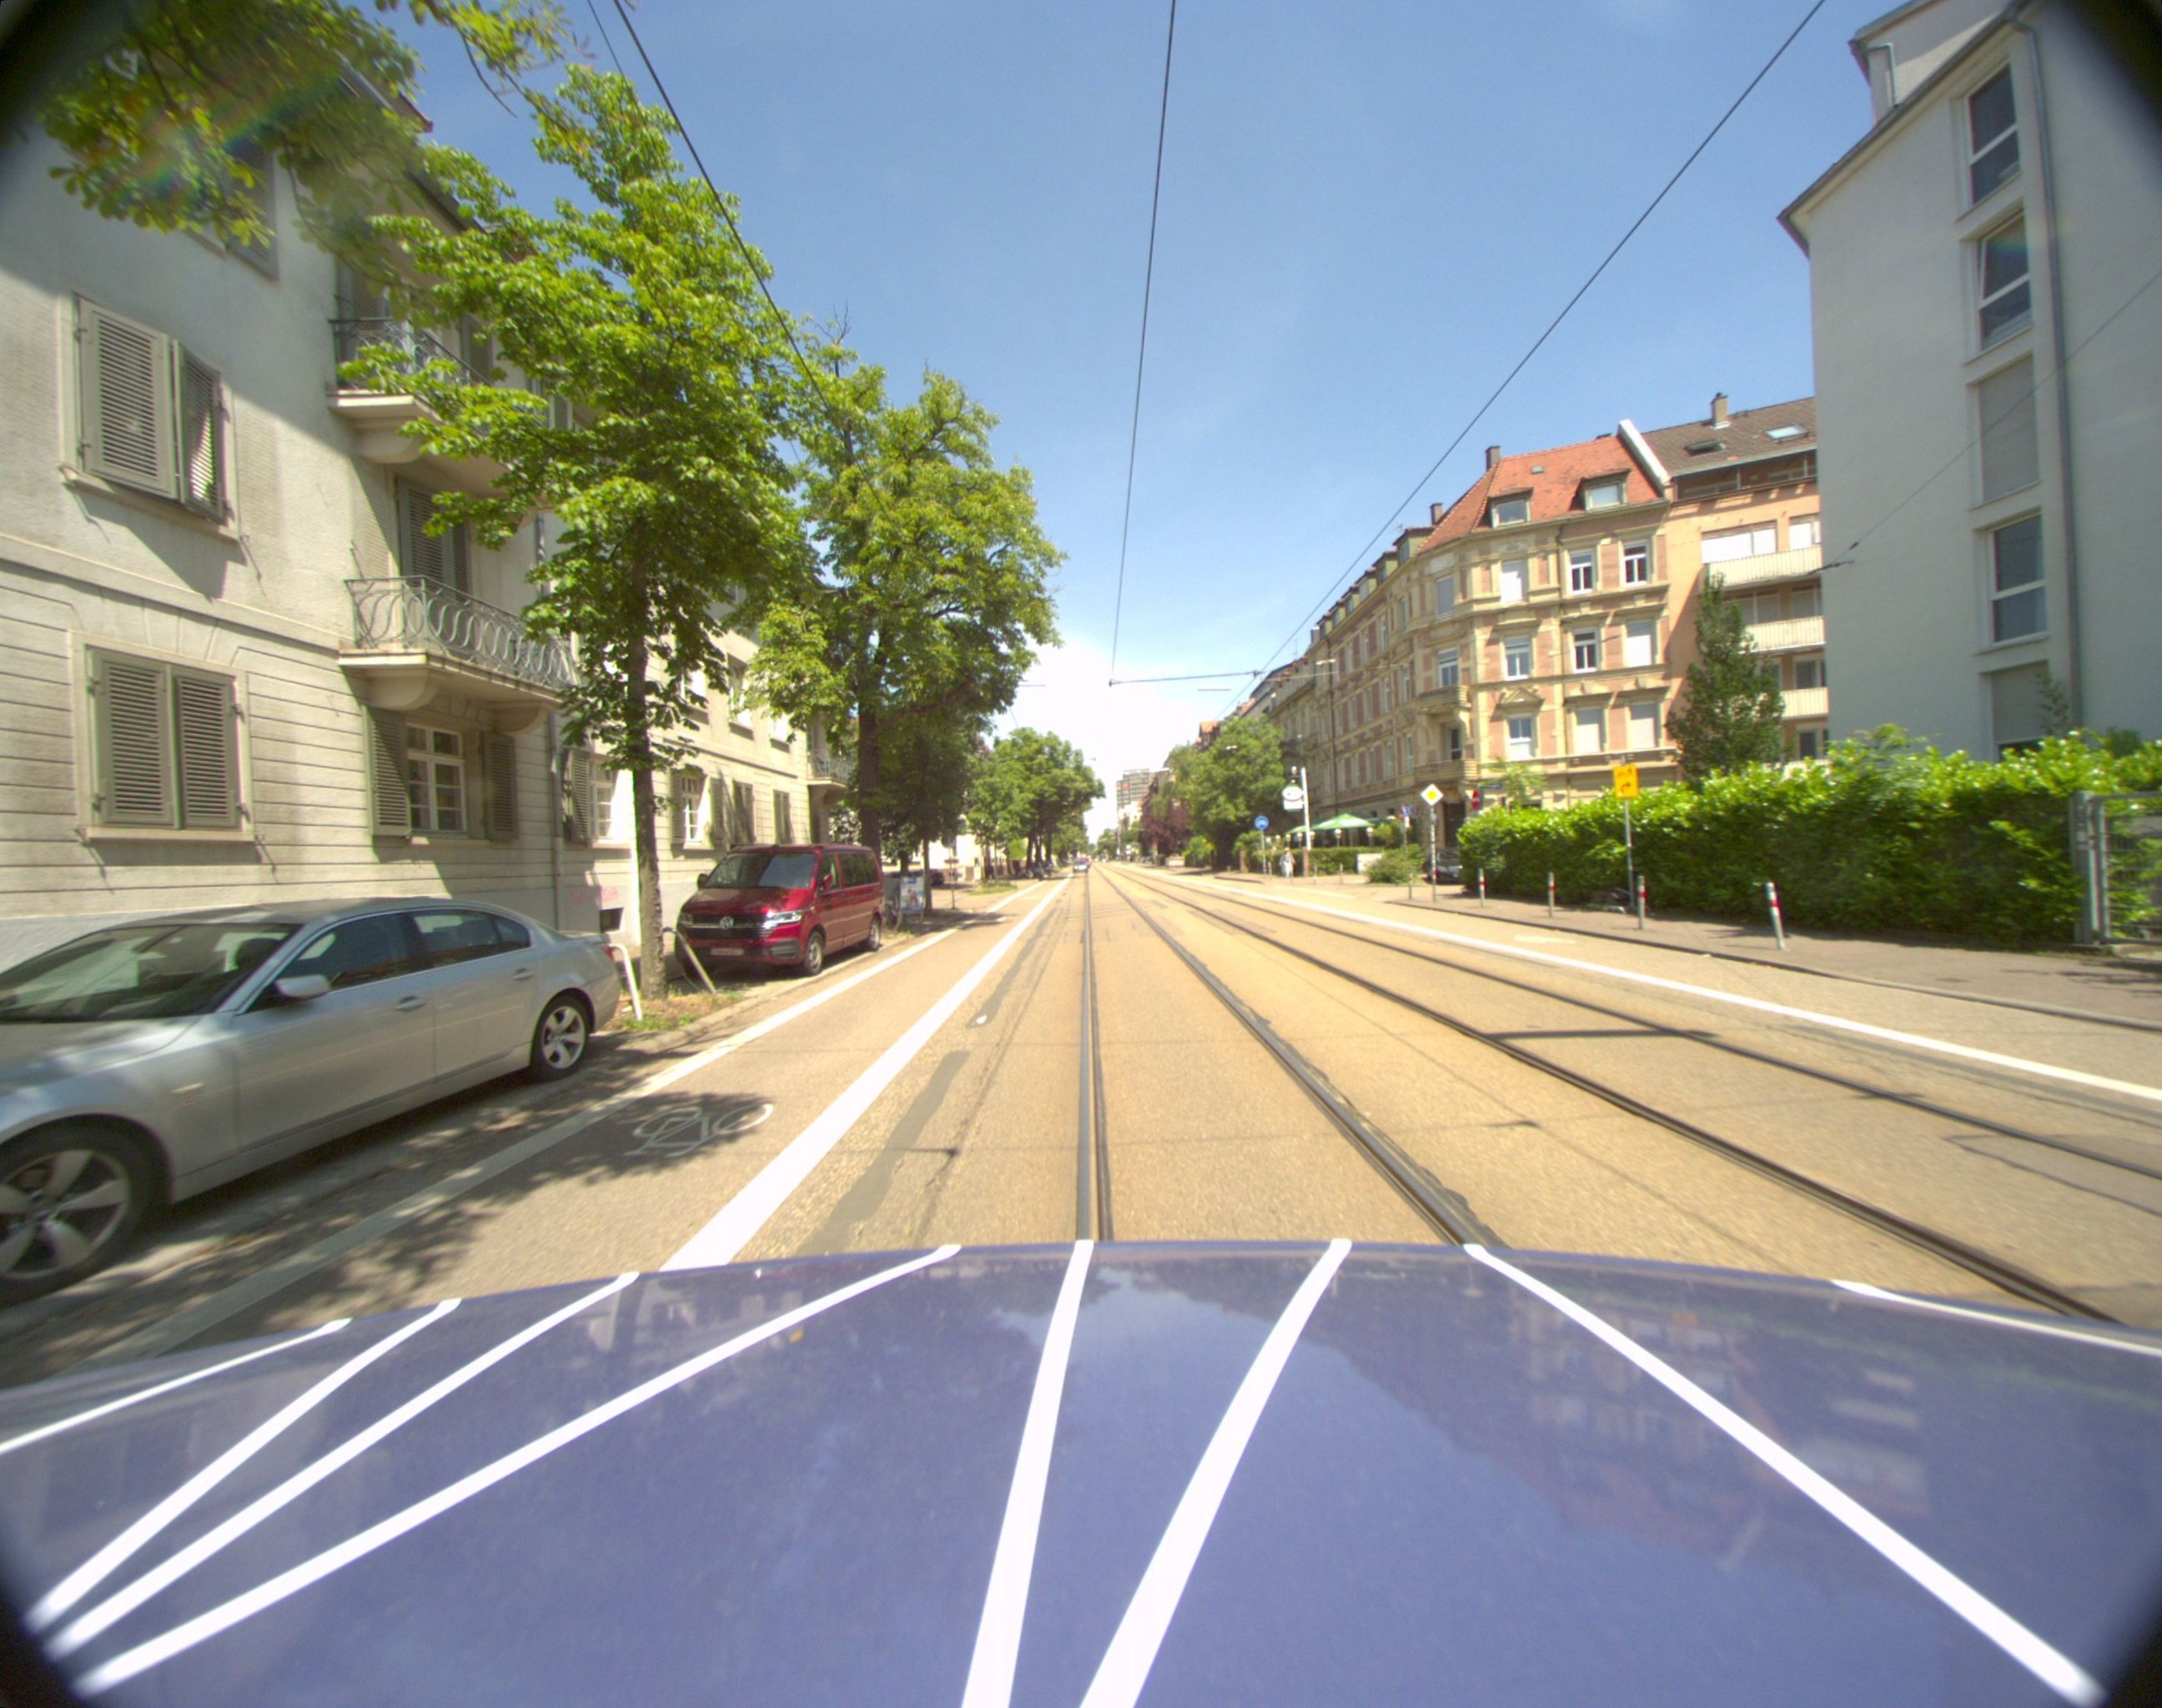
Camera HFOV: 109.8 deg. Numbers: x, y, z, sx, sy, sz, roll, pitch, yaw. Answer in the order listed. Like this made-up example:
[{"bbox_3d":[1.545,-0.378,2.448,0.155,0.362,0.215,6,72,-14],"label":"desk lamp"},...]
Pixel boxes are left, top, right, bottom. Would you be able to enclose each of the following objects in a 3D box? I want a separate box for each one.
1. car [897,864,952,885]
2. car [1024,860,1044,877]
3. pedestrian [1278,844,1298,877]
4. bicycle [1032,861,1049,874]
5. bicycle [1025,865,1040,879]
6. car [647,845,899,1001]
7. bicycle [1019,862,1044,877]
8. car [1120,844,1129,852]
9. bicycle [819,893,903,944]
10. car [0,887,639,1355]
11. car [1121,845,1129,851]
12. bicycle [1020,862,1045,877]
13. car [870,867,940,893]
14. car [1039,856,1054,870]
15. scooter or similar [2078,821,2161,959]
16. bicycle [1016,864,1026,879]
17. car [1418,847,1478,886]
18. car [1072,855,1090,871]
[{"bbox_3d":[-12.179,1.603,59.239,3.874,1.439,1.648,-2,2,23],"label":"car"},{"bbox_3d":[-4.352,1.352,71.151,1.596,1.444,3.632,-1,0,1],"label":"car"},{"bbox_3d":[10.492,0.311,38.610,0.742,1.632,0.939,-2,1,3],"label":"pedestrian"},{"bbox_3d":[-4.078,1.328,76.098,1.623,1.193,0.305,-3,1,2],"label":"bicycle"},{"bbox_3d":[-3.958,1.459,61.949,1.169,1.057,0.280,-3,1,3],"label":"bicycle"},{"bbox_3d":[-4.717,0.929,12.652,1.864,2.002,4.977,-3,0,3],"label":"car"},{"bbox_3d":[-4.332,1.359,66.627,2.037,1.193,0.445,-3,1,10],"label":"bicycle"},{"bbox_3d":[10.841,-1.524,189.684,1.998,1.717,3.871,-3,1,0],"label":"car"},{"bbox_3d":[-4.831,1.417,16.757,1.701,1.016,0.364,-2,1,-5],"label":"bicycle"},{"bbox_3d":[-4.951,1.122,4.324,1.864,1.568,4.877,-3,0,1],"label":"car"},{"bbox_3d":[9.887,-1.363,170.636,1.493,1.372,3.630,-3,1,0],"label":"car"},{"bbox_3d":[-4.278,1.347,67.133,2.037,1.193,0.445,-3,1,10],"label":"bicycle"},{"bbox_3d":[-12.327,1.802,53.203,4.665,1.506,1.879,-4,-1,29],"label":"car"},{"bbox_3d":[-4.042,1.029,89.636,1.539,1.535,4.000,-3,0,0],"label":"car"},{"bbox_3d":[11.971,0.370,8.423,1.011,1.442,0.597,-3,1,1],"label":"scooter or similar"},{"bbox_3d":[-4.929,1.405,62.263,0.284,1.193,1.625,-4,1,-19],"label":"bicycle"},{"bbox_3d":[15.157,0.475,31.549,1.592,1.430,3.761,-3,0,16],"label":"car"},{"bbox_3d":[0.040,1.010,86.935,1.893,1.561,4.036,-3,1,0],"label":"car"}]
